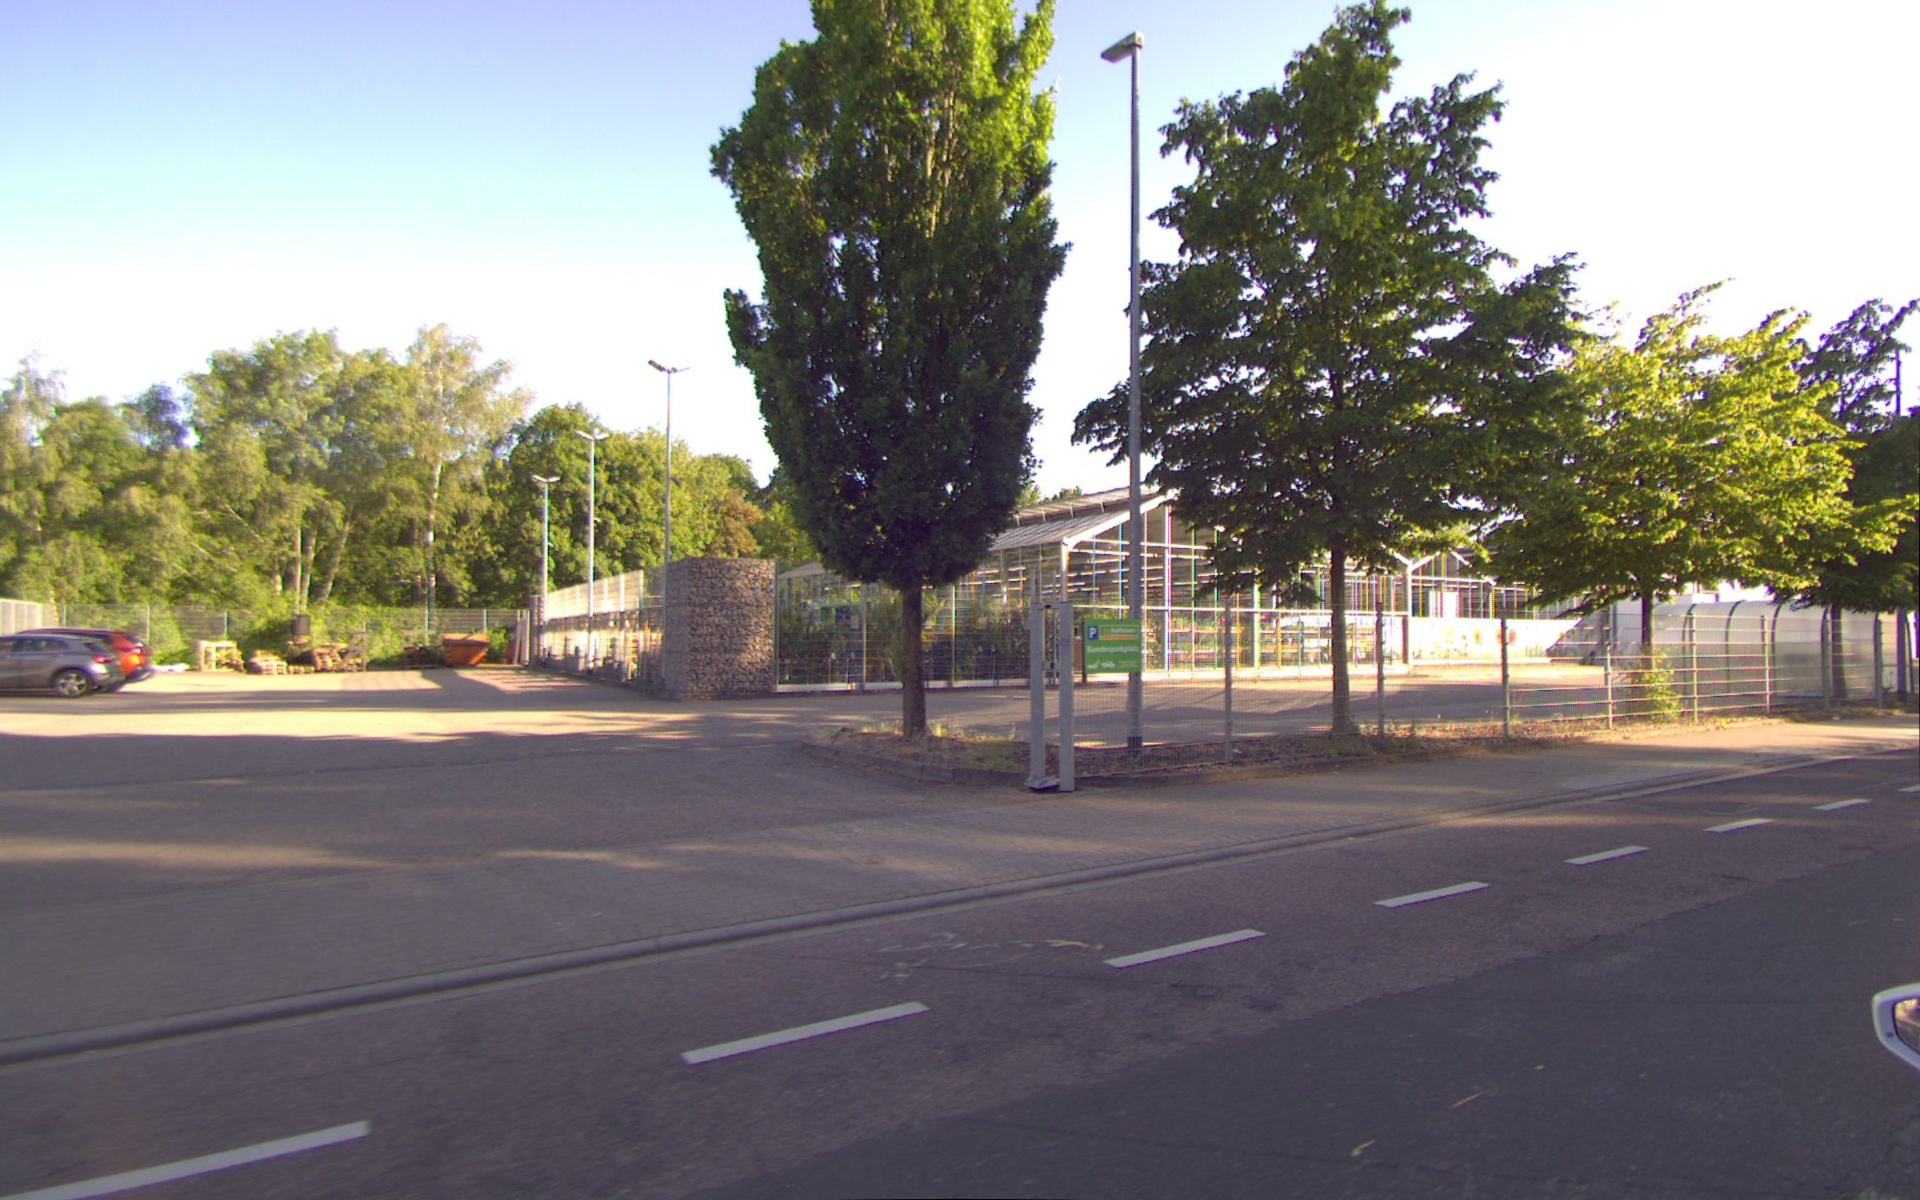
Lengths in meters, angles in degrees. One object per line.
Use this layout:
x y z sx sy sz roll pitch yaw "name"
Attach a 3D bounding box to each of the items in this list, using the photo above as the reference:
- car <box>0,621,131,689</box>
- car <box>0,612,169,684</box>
-22.778 1.303 24.246 3.957 1.529 1.870 4 -3 -32 "car"
-23.694 1.272 26.650 3.957 1.762 1.870 4 -3 -32 "car"
